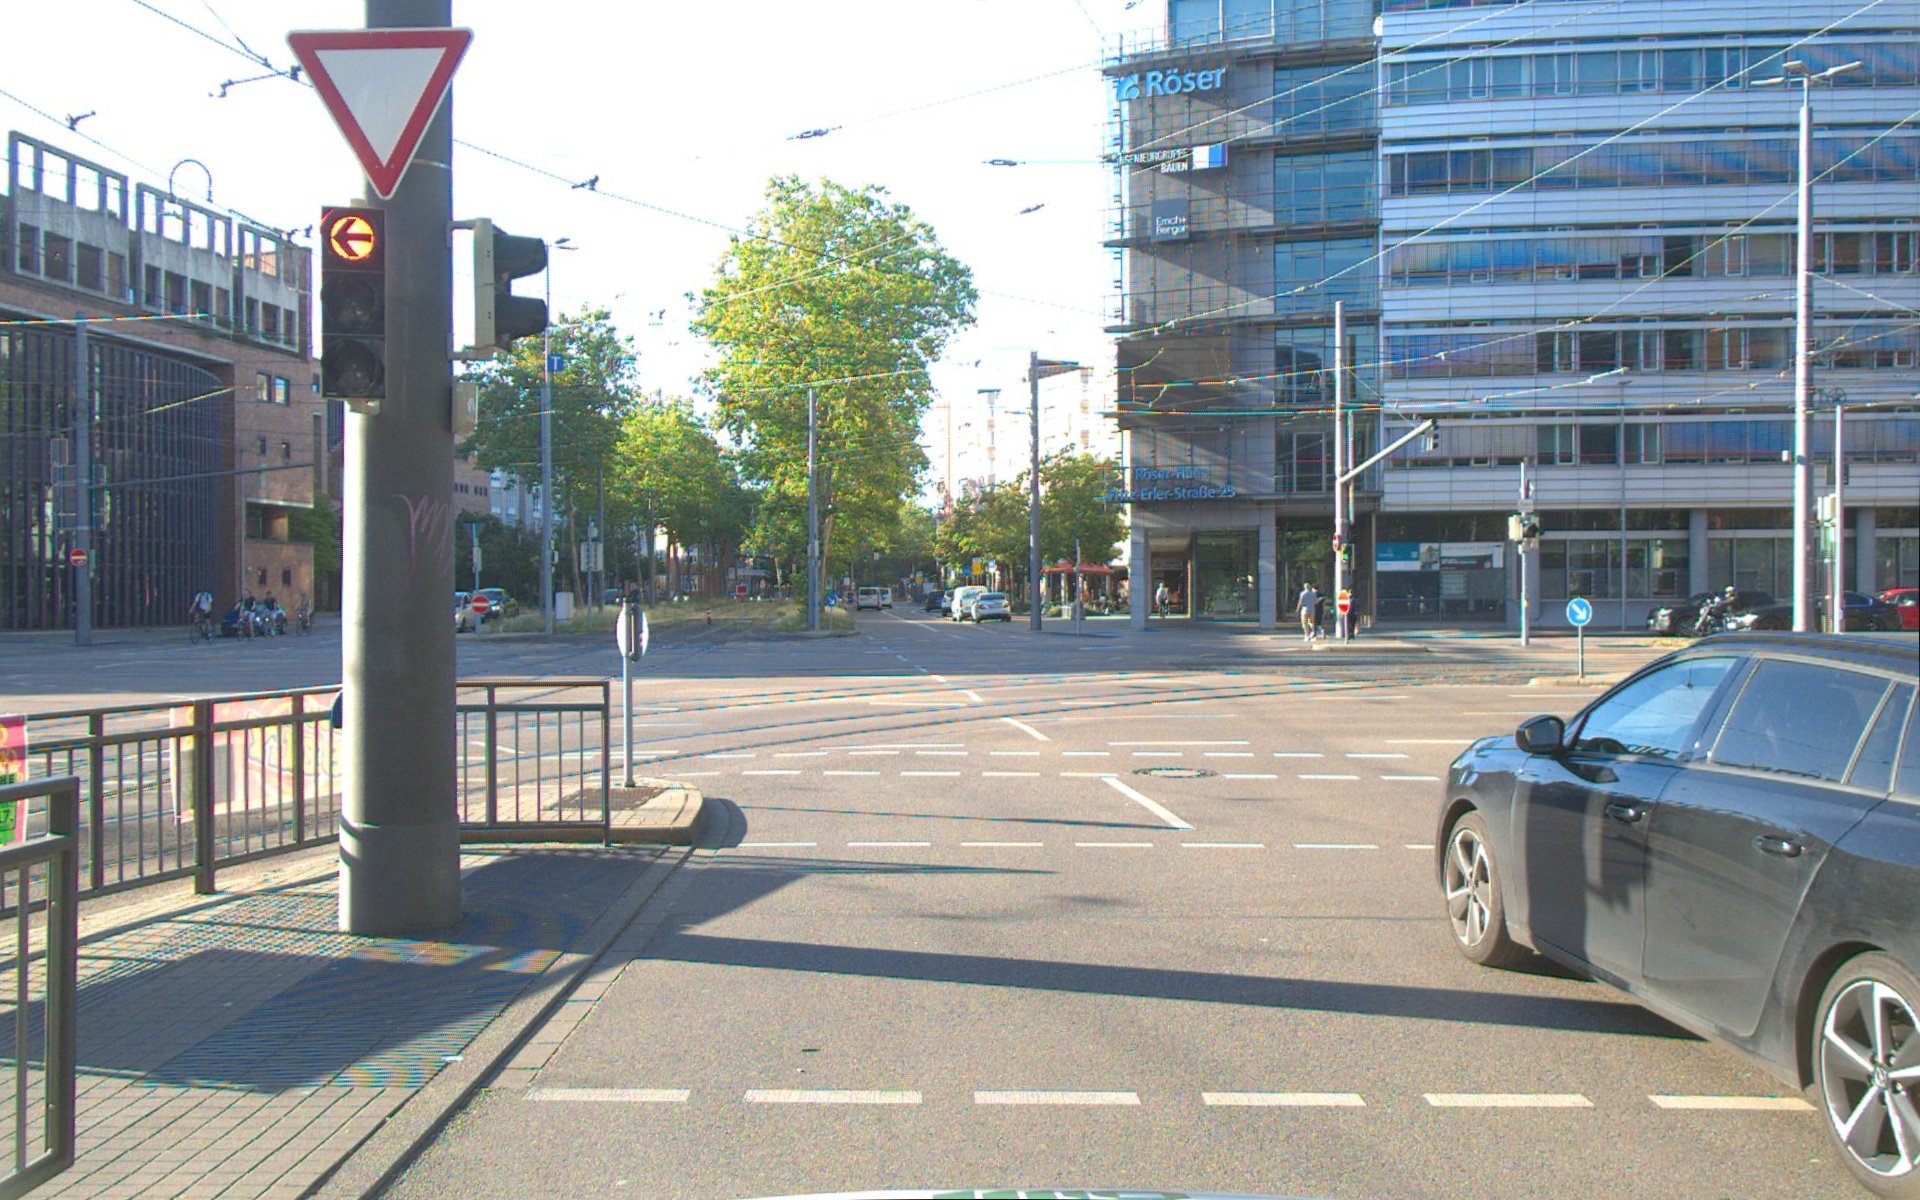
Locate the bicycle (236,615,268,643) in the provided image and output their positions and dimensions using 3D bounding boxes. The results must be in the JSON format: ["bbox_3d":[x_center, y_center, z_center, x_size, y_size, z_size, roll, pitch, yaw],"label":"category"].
[{"bbox_3d":[-25.602,1.038,59.831,0.463,0.980,1.575,-1,0,-1],"label":"bicycle"}]

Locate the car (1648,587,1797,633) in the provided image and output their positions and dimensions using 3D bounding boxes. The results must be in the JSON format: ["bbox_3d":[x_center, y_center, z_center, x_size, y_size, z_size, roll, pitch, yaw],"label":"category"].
[{"bbox_3d":[24.984,0.328,54.324,4.070,1.423,1.786,-1,0,4],"label":"car"}]

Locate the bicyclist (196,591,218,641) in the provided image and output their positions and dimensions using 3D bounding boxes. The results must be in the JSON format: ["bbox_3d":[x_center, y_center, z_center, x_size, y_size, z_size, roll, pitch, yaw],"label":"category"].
[{"bbox_3d":[-26.836,0.563,58.946,0.525,1.761,0.581,-1,0,-1],"label":"bicyclist"}]

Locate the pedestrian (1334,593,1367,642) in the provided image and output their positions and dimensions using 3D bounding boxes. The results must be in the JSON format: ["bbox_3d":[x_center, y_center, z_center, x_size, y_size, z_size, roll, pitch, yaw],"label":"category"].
[{"bbox_3d":[12.882,0.580,54.625,0.928,1.591,0.897,-1,0,6],"label":"pedestrian"}]

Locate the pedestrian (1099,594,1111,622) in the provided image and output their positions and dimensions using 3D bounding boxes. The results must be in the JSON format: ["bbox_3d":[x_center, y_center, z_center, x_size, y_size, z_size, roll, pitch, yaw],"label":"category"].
[{"bbox_3d":[9.221,0.511,105.132,0.729,1.744,0.612,-1,0,-1],"label":"pedestrian"}]

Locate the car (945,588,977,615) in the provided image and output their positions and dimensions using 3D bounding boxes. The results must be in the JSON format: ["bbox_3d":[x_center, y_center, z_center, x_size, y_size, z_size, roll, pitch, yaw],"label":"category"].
[{"bbox_3d":[0.034,0.073,105.199,1.953,1.646,3.999,-1,0,-1],"label":"car"}]

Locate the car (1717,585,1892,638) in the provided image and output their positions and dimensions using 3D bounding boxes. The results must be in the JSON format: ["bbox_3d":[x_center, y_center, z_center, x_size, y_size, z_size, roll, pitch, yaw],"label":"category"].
[{"bbox_3d":[23.994,0.323,47.097,4.070,1.423,1.786,-1,0,4],"label":"car"}]

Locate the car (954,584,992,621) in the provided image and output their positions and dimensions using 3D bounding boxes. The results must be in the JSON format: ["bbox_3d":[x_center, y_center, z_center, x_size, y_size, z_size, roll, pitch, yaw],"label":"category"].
[{"bbox_3d":[0.686,0.118,89.563,1.953,1.892,3.999,-1,0,-1],"label":"car"}]

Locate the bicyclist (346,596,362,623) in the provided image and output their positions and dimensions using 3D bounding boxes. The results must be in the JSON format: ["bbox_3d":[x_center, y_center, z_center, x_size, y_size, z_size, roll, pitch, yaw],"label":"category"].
[{"bbox_3d":[-27.471,0.421,74.934,0.495,1.232,0.581,-1,0,-1],"label":"bicyclist"}]

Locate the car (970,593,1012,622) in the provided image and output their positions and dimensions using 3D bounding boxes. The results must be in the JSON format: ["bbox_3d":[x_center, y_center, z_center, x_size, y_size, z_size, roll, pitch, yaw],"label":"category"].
[{"bbox_3d":[1.535,0.338,82.777,1.953,1.400,3.999,-1,0,-1],"label":"car"}]

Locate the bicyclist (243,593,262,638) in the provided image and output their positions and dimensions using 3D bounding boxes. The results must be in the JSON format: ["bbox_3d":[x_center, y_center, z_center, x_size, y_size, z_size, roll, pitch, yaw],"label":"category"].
[{"bbox_3d":[-25.618,0.567,59.889,0.449,1.631,0.581,-1,0,-1],"label":"bicyclist"}]

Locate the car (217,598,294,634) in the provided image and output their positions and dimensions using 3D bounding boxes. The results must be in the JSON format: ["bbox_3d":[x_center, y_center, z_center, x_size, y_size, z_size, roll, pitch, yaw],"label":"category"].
[{"bbox_3d":[-30.074,0.678,70.702,1.633,1.461,3.999,-1,0,-2],"label":"car"}]

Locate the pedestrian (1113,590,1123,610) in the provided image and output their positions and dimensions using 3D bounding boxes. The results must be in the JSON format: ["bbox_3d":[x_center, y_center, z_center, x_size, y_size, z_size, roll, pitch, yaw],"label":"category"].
[{"bbox_3d":[10.508,-0.011,110.272,0.565,1.311,0.910,-1,0,-1],"label":"pedestrian"}]

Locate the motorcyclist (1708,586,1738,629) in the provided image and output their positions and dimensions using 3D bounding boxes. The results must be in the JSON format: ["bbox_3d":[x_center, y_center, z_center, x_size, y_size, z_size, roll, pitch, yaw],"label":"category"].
[{"bbox_3d":[22.973,0.229,49.809,0.697,1.298,0.460,-1,0,3],"label":"motorcyclist"}]

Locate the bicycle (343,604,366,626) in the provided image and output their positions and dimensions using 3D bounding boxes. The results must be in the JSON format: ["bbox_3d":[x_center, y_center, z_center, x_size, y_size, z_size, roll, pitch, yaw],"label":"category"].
[{"bbox_3d":[-27.447,0.666,74.972,0.482,0.980,1.486,-1,0,-1],"label":"bicycle"}]

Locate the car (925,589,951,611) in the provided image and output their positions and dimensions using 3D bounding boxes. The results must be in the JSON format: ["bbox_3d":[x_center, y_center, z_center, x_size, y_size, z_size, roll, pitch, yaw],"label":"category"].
[{"bbox_3d":[-1.684,-0.029,126.623,1.953,1.646,3.999,-1,0,-1],"label":"car"}]

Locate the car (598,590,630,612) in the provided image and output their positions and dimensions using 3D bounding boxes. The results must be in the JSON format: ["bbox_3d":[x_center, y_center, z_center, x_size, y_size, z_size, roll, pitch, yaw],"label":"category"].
[{"bbox_3d":[-30.038,0.063,143.684,1.953,1.847,3.999,-1,0,-1],"label":"car"}]

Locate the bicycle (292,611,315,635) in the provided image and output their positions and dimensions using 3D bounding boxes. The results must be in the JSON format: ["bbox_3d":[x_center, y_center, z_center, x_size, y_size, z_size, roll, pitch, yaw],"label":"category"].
[{"bbox_3d":[-27.026,0.943,68.116,0.442,0.980,1.347,-1,0,-1],"label":"bicycle"}]

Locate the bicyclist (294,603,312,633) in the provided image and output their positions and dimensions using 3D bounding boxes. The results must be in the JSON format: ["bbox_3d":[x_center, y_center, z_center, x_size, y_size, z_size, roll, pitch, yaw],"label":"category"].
[{"bbox_3d":[-27.045,0.747,68.075,0.495,1.199,0.581,-1,0,-1],"label":"bicyclist"}]

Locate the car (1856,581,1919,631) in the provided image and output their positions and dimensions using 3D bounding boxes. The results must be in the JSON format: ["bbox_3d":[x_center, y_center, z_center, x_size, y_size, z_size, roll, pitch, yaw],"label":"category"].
[{"bbox_3d":[29.292,0.129,49.520,3.903,1.418,1.786,-2,0,4],"label":"car"}]

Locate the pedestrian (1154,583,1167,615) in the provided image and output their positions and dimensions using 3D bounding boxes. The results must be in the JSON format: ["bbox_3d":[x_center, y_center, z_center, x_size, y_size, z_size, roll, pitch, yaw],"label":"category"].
[{"bbox_3d":[9.560,-0.055,78.983,0.599,1.534,0.579,-1,0,5],"label":"pedestrian"}]

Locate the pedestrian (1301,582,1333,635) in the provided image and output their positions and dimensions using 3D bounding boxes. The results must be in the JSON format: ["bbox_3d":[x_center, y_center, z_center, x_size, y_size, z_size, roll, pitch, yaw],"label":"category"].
[{"bbox_3d":[11.779,0.274,54.600,0.893,1.714,1.035,-1,0,4],"label":"pedestrian"}]

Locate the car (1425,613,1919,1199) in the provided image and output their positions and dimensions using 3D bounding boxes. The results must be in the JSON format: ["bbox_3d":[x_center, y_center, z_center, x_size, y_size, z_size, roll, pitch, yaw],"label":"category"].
[{"bbox_3d":[3.128,0.800,5.350,1.705,1.439,4.266,1,0,-5],"label":"car"}]

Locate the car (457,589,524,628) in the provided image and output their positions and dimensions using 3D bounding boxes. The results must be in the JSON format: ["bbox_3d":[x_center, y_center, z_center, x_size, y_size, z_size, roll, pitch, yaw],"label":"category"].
[{"bbox_3d":[-21.119,0.366,74.582,1.953,1.668,3.999,-1,0,-2],"label":"car"}]

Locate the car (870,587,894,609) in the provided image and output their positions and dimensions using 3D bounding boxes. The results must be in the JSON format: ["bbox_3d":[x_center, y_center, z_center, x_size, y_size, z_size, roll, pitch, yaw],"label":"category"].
[{"bbox_3d":[-7.049,-0.229,149.872,1.953,1.945,3.999,-1,0,-1],"label":"car"}]

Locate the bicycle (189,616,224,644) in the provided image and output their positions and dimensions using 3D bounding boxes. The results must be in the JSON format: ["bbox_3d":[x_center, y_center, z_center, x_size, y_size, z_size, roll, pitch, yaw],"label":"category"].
[{"bbox_3d":[-26.834,1.063,58.889,0.531,0.980,1.586,-1,0,-1],"label":"bicycle"}]

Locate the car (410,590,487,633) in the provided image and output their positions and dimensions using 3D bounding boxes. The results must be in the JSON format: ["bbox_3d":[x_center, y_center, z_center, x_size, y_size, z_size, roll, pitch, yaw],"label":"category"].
[{"bbox_3d":[-20.668,0.446,67.024,1.953,1.668,3.999,-1,0,-2],"label":"car"}]

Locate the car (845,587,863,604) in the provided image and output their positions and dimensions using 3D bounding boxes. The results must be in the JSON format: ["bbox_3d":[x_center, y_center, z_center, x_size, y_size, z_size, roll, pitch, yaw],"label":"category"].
[{"bbox_3d":[-12.654,-0.569,198.189,1.953,2.049,3.999,-1,0,-1],"label":"car"}]

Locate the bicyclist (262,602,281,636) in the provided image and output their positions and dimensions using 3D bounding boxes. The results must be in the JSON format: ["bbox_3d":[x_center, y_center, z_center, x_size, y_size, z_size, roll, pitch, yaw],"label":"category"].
[{"bbox_3d":[-27.309,0.762,65.646,0.495,1.327,0.581,-1,0,-1],"label":"bicyclist"}]

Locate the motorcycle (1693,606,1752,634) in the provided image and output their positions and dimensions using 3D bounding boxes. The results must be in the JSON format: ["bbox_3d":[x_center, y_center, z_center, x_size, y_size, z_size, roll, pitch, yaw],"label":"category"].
[{"bbox_3d":[22.939,0.608,49.792,1.535,0.824,0.467,-1,0,3],"label":"motorcycle"}]

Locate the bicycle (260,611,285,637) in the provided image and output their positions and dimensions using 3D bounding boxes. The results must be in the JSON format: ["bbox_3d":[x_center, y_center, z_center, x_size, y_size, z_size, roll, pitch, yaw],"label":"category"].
[{"bbox_3d":[-27.247,0.939,65.552,0.458,0.980,1.320,-1,0,-1],"label":"bicycle"}]

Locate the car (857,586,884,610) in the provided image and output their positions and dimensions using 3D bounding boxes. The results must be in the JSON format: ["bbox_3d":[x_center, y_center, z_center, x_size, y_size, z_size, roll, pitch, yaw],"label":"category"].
[{"bbox_3d":[-7.162,-0.184,132.742,1.921,1.881,5.329,-1,0,-1],"label":"car"}]

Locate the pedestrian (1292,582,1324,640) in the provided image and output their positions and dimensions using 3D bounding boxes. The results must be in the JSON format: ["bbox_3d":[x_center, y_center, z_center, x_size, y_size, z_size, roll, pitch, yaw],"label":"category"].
[{"bbox_3d":[11.253,0.350,53.509,0.846,1.820,0.871,-1,0,-1],"label":"pedestrian"}]
